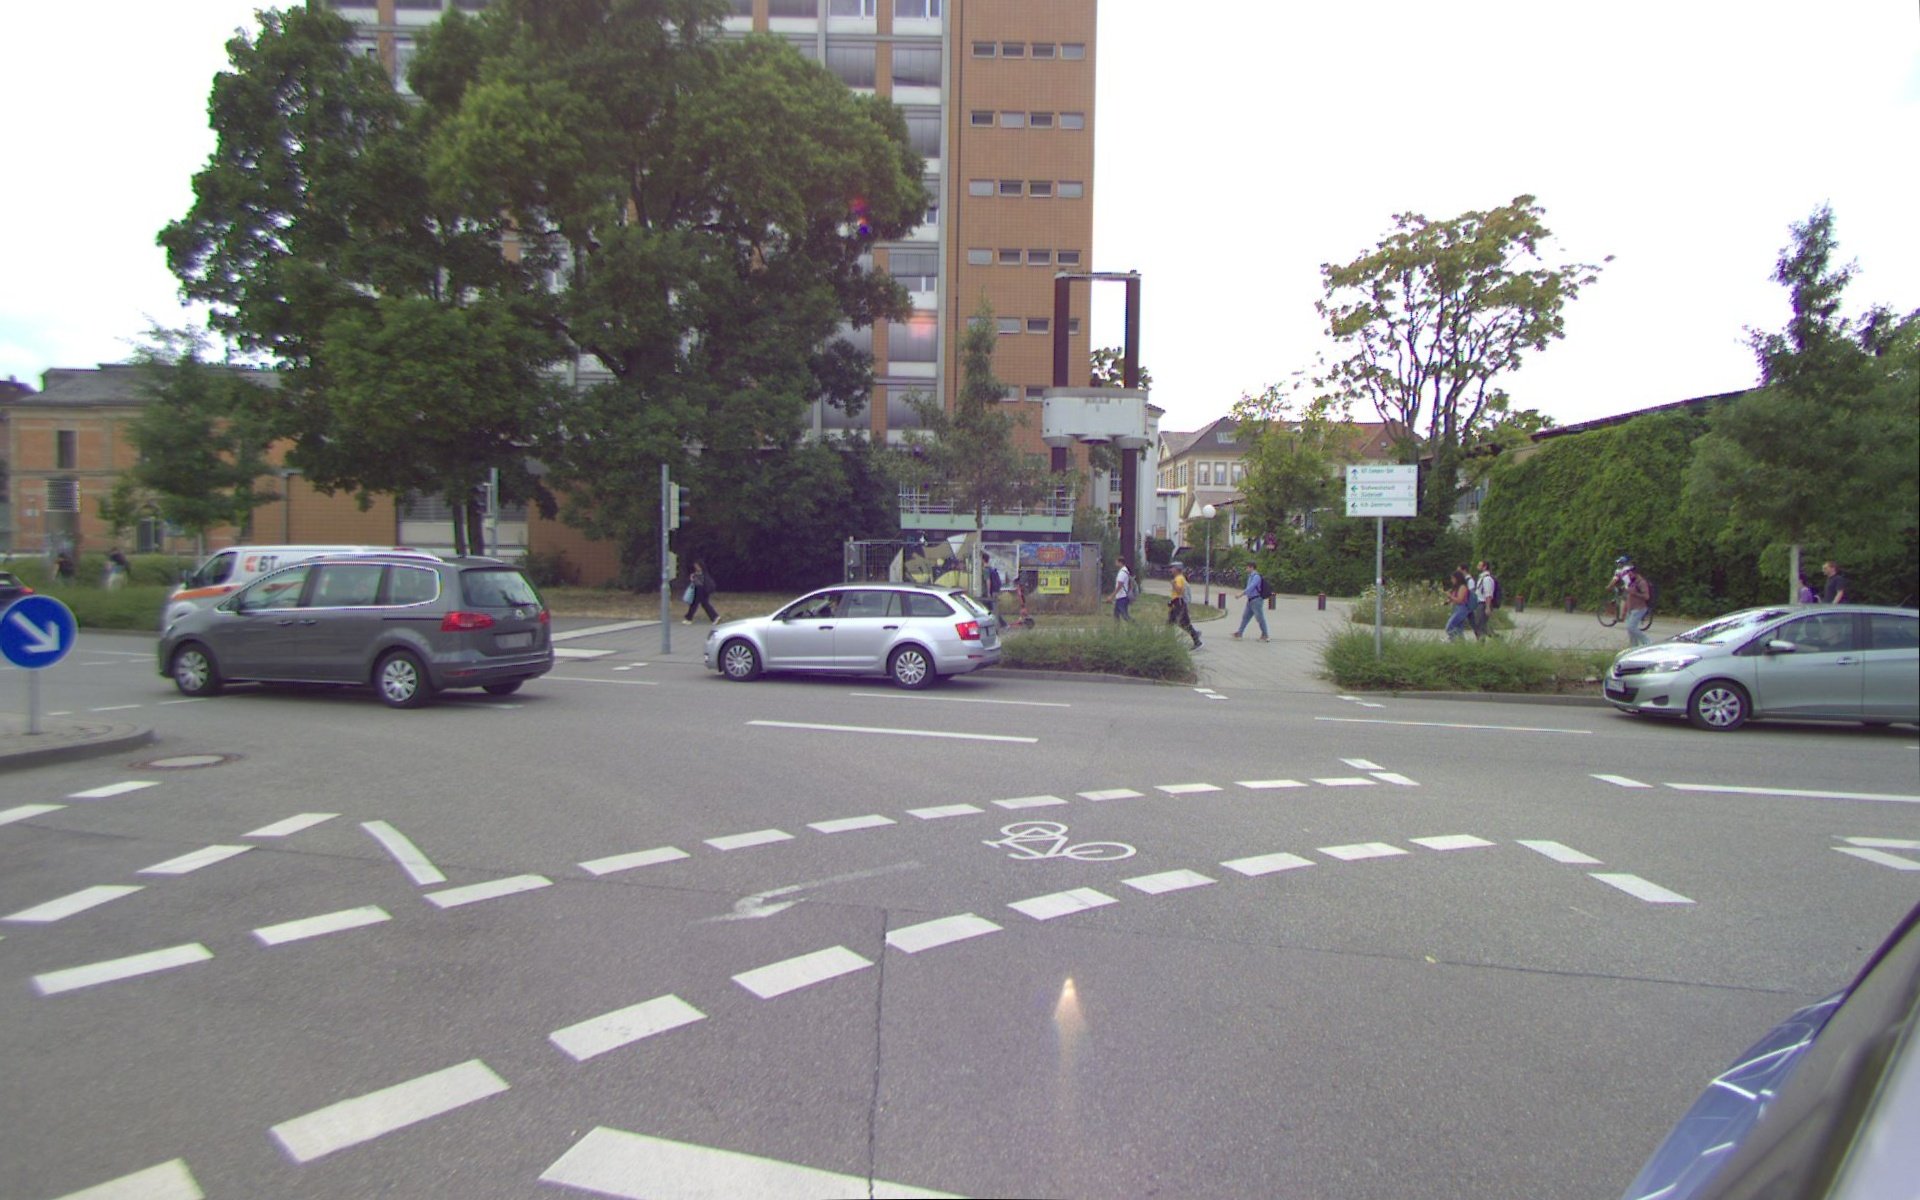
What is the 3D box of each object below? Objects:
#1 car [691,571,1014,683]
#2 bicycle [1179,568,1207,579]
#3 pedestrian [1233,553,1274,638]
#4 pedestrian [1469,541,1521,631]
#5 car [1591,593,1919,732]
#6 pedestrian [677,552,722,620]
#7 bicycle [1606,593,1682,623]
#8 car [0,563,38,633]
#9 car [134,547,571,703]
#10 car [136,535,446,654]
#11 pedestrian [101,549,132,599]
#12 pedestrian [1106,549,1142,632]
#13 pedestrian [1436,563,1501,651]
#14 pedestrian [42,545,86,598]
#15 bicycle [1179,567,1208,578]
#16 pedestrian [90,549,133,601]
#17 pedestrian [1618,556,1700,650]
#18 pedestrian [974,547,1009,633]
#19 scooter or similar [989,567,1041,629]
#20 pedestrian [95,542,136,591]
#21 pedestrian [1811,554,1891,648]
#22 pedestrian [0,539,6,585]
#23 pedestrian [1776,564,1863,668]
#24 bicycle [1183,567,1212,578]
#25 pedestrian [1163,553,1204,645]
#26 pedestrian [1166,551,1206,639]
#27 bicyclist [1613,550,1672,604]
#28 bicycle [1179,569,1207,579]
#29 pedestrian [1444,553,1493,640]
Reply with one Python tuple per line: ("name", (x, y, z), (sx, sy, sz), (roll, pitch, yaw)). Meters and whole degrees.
("car", (-1.552, 0.341, 15.118), (4.462, 1.493, 1.817), (1, 0, 14))
("bicycle", (15.524, -1.775, 67.446), (1.817, 0.702, 0.649), (1, 0, 13))
("pedestrian", (6.130, -0.105, 21.142), (0.696, 1.731, 0.639), (1, 3, 7))
("pedestrian", (10.495, -0.278, 19.874), (0.696, 1.732, 0.639), (1, 0, 7))
("car", (10.018, 0.684, 12.111), (3.815, 1.508, 1.666), (1, 0, 12))
("pedestrian", (-6.278, -0.344, 24.416), (0.798, 1.593, 0.779), (1, 3, 7))
("bicycle", (16.950, 0.197, 25.092), (1.808, 0.702, 0.844), (0, 0, -29))
("car", (-22.408, -0.064, 22.454), (3.596, 1.527, 1.657), (1, 0, 25))
("car", (-7.272, 0.236, 12.236), (4.614, 1.671, 1.754), (1, 0, 13))
("car", (-12.181, -0.123, 18.473), (5.130, 1.984, 1.817), (1, 0, 16))
("pedestrian", (-26.485, -0.832, 31.786), (0.539, 1.555, 0.551), (-1, 3, -16))
("pedestrian", (3.474, -0.218, 21.452), (0.696, 1.732, 0.639), (1, 1, 7))
("pedestrian", (9.428, 0.112, 18.782), (0.786, 1.561, 0.839), (1, 4, 7))
("pedestrian", (-27.994, -0.902, 31.632), (0.805, 1.593, 0.772), (2, 3, 30))
("bicycle", (15.187, -1.771, 65.787), (1.817, 0.702, 0.649), (1, 0, 13))
("pedestrian", (-26.654, -0.790, 31.796), (0.805, 1.593, 0.772), (2, 3, 30))
("pedestrian", (13.298, 0.053, 19.288), (0.996, 1.732, 0.838), (1, 0, 7))
("pedestrian", (0.698, -0.232, 22.340), (0.696, 1.875, 0.639), (1, 2, 7))
("scooter or similar", (1.249, -0.055, 23.039), (1.125, 1.387, 0.399), (1, 0, -6))
("pedestrian", (-27.815, -1.106, 33.336), (0.805, 1.593, 0.772), (2, 3, 30))
("pedestrian", (16.826, 0.014, 19.135), (0.786, 1.732, 0.838), (1, 0, 7))
("pedestrian", (-33.979, -1.323, 35.308), (0.805, 1.593, 0.772), (2, 3, 30))
("pedestrian", (14.744, 0.270, 17.385), (0.786, 1.732, 0.838), (1, 0, 7))
("bicycle", (15.087, -1.752, 64.318), (1.817, 0.702, 0.649), (1, 0, 13))
("pedestrian", (4.313, -0.033, 19.598), (0.696, 1.732, 0.639), (1, 2, 7))
("pedestrian", (4.537, -0.109, 20.355), (0.696, 1.732, 0.639), (1, 0, 7))
("bicyclist", (16.956, -0.565, 25.136), (0.992, 1.293, 0.841), (0, 0, -28))
("bicycle", (15.943, -1.787, 69.245), (1.817, 0.702, 0.649), (1, 0, 13))
("pedestrian", (10.380, -0.076, 20.665), (0.696, 1.732, 0.639), (1, 0, 7))
